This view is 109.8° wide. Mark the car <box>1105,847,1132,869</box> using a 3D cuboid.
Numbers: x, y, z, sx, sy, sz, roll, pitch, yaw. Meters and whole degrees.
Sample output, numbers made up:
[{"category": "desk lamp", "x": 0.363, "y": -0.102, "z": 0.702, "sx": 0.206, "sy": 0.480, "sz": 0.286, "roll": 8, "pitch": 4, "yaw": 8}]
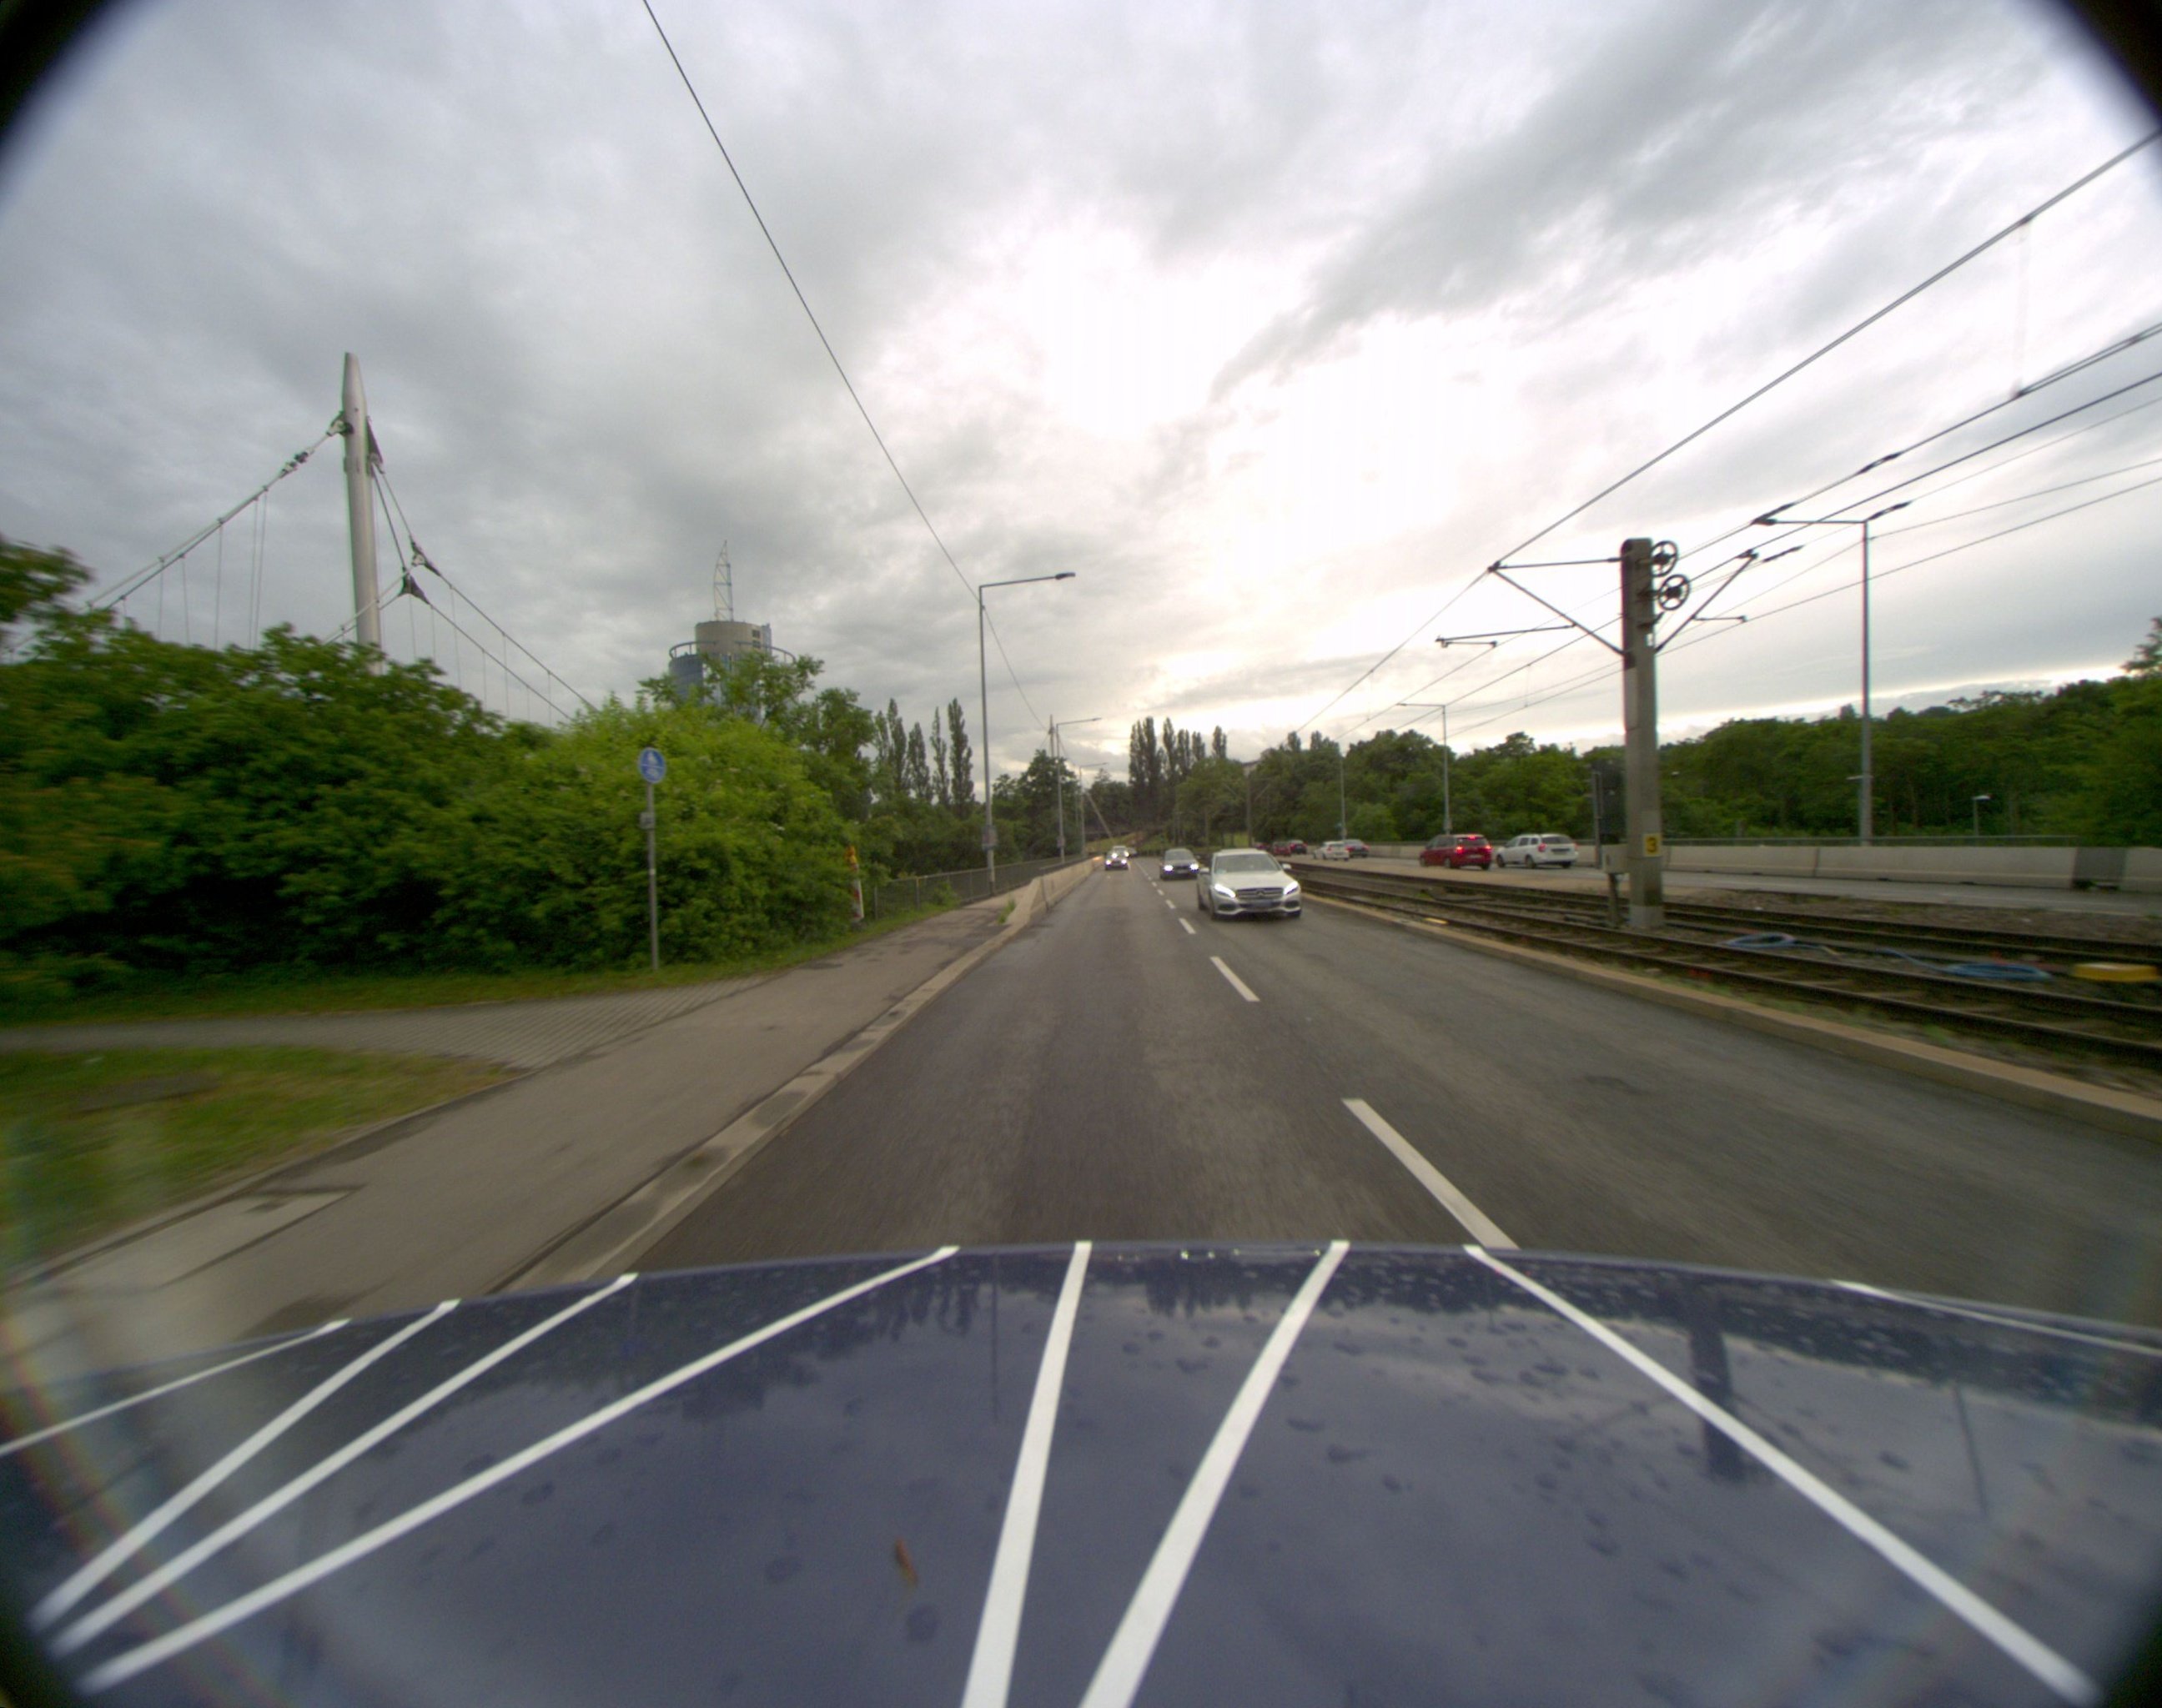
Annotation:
[{"category": "car", "x": 2.757, "y": 0.261, "z": 56.731, "sx": 1.768, "sy": 1.492, "sz": 3.999, "roll": -3, "pitch": 1, "yaw": 0}]

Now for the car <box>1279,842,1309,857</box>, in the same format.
[{"category": "car", "x": 23.202, "y": -0.518, "z": 82.910, "sx": 1.901, "sy": 1.588, "sz": 4.732, "roll": -1, "pitch": 0, "yaw": 0}]

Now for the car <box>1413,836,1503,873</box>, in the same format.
[{"category": "car", "x": 17.376, "y": 0.012, "z": 35.331, "sx": 1.852, "sy": 1.588, "sz": 4.732, "roll": -1, "pitch": 0, "yaw": 0}]

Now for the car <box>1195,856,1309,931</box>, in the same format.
[{"category": "car", "x": 3.649, "y": 0.773, "z": 16.884, "sx": 1.871, "sy": 1.348, "sz": 4.061, "roll": -2, "pitch": 1, "yaw": 5}]

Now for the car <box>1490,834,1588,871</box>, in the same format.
[{"category": "car", "x": 20.494, "y": -0.106, "z": 34.258, "sx": 1.825, "sy": 1.506, "sz": 4.529, "roll": -2, "pitch": 1, "yaw": 3}]

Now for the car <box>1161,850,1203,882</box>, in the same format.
[{"category": "car", "x": 4.862, "y": 0.542, "z": 36.899, "sx": 1.735, "sy": 1.344, "sz": 4.000, "roll": -3, "pitch": 1, "yaw": 4}]

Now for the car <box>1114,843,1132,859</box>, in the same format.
[{"category": "car", "x": 5.181, "y": -0.416, "z": 93.852, "sx": 1.768, "sy": 1.806, "sz": 3.999, "roll": -3, "pitch": 1, "yaw": -1}]

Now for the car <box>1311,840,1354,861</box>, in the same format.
[{"category": "car", "x": 18.521, "y": -0.301, "z": 56.130, "sx": 1.734, "sy": 1.429, "sz": 4.490, "roll": -1, "pitch": 2, "yaw": 0}]

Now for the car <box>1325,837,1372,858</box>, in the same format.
[{"category": "car", "x": 21.910, "y": -0.549, "z": 62.453, "sx": 1.974, "sy": 1.588, "sz": 5.184, "roll": -1, "pitch": 0, "yaw": 0}]

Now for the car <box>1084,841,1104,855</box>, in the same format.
[{"category": "car", "x": 2.900, "y": -1.340, "z": 177.043, "sx": 2.399, "sy": 3.098, "sz": 6.346, "roll": -4, "pitch": 1, "yaw": -20}]

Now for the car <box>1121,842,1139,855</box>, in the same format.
[{"category": "car", "x": 7.110, "y": -0.805, "z": 111.321, "sx": 1.769, "sy": 1.806, "sz": 3.997, "roll": -3, "pitch": 0, "yaw": -8}]

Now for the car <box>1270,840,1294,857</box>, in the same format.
[{"category": "car", "x": 19.789, "y": -0.567, "z": 75.000, "sx": 1.604, "sy": 1.485, "sz": 3.016, "roll": -1, "pitch": 2, "yaw": 0}]

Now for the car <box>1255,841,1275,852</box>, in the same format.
[{"category": "car", "x": 24.730, "y": -1.031, "z": 102.341, "sx": 1.820, "sy": 1.428, "sz": 4.741, "roll": -3, "pitch": 0, "yaw": 4}]
